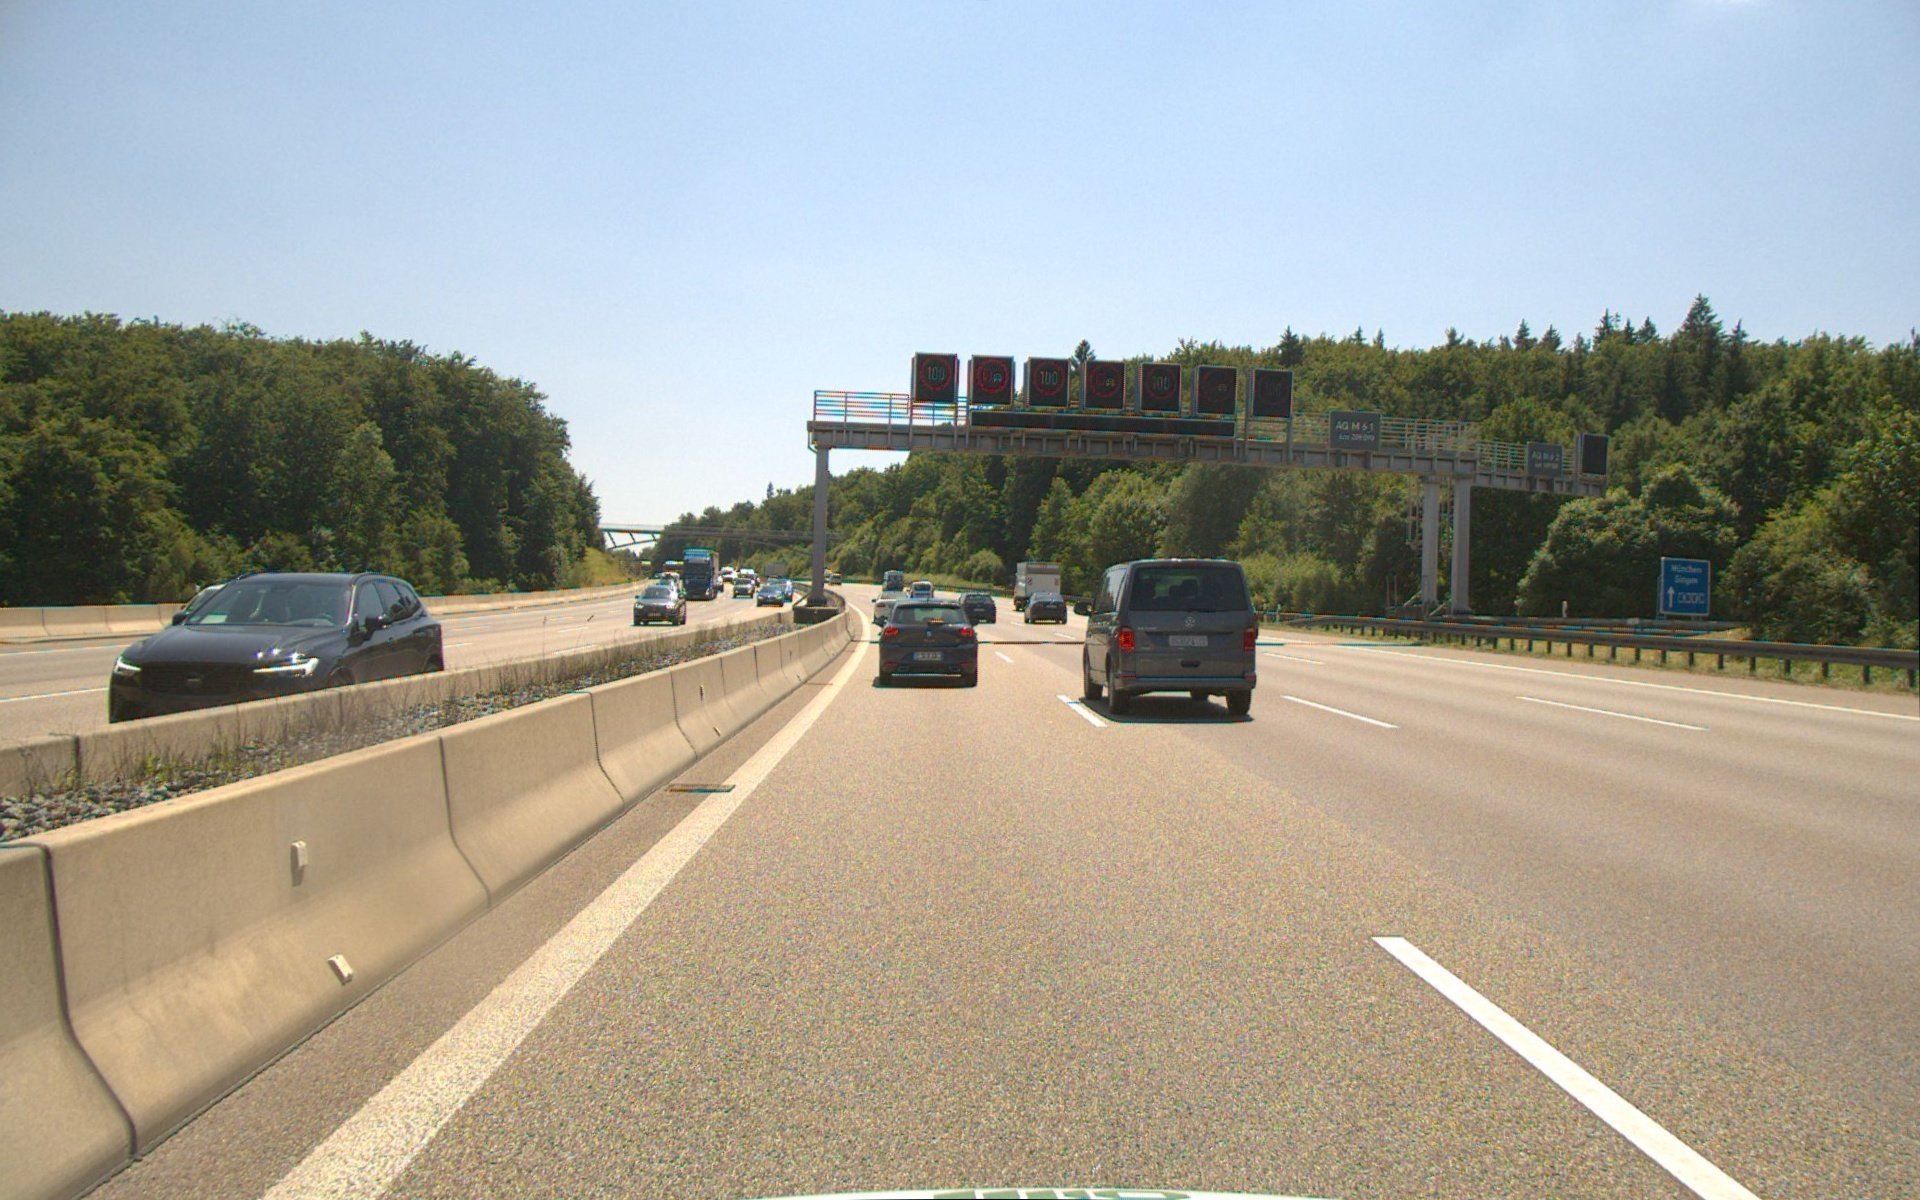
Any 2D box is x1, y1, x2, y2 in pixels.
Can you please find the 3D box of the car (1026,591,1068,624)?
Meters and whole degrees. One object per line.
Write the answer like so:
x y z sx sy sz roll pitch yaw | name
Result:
4.088 0.349 78.262 1.631 1.433 4.903 1 1 -1 | car

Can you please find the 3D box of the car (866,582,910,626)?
-3.360 0.208 76.726 1.972 1.878 3.996 1 -3 -3 | car

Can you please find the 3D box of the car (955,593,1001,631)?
0.824 0.596 78.661 1.954 1.758 4.146 0 -1 -3 | car

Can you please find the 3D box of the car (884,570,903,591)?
-7.813 -2.268 195.230 2.219 2.413 4.699 0 0 -2 | car

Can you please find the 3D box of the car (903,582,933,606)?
-3.199 -0.468 124.244 2.062 1.774 4.684 1 1 -4 | car

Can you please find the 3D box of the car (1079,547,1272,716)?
2.847 0.386 22.975 1.923 2.069 5.082 0 0 -1 | car

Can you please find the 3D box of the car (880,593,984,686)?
-0.512 0.632 28.972 1.673 1.458 3.999 1 1 -2 | car

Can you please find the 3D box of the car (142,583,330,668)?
-14.510 0.462 33.418 1.953 1.558 4.377 1 1 -2 | car

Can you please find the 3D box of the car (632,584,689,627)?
-12.335 0.182 68.317 1.719 1.663 4.636 0 1 -3 | car

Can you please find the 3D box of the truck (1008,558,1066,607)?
5.171 -1.203 112.318 2.927 3.222 7.567 1 1 -5 | truck

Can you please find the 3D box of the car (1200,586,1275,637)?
9.865 0.384 59.084 1.953 1.758 3.999 0 0 -1 | car

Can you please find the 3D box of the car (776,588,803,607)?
-14.069 -0.235 136.464 1.917 1.545 5.130 0 0 -3 | car

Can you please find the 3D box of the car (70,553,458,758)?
-6.469 0.461 16.008 1.953 1.697 4.433 0 0 -1 | car

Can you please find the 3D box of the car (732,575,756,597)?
-19.902 -1.295 152.690 1.955 2.001 4.778 0 0 -5 | car

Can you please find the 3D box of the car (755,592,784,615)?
-13.572 0.289 118.153 1.817 1.545 4.517 0 -1 -4 | car

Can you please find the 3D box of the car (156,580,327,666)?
-14.483 0.439 33.596 1.683 1.633 4.280 0 0 -1 | car

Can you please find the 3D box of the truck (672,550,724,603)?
-21.872 -1.918 138.414 3.712 4.250 5.873 2 0 -5 | truck
